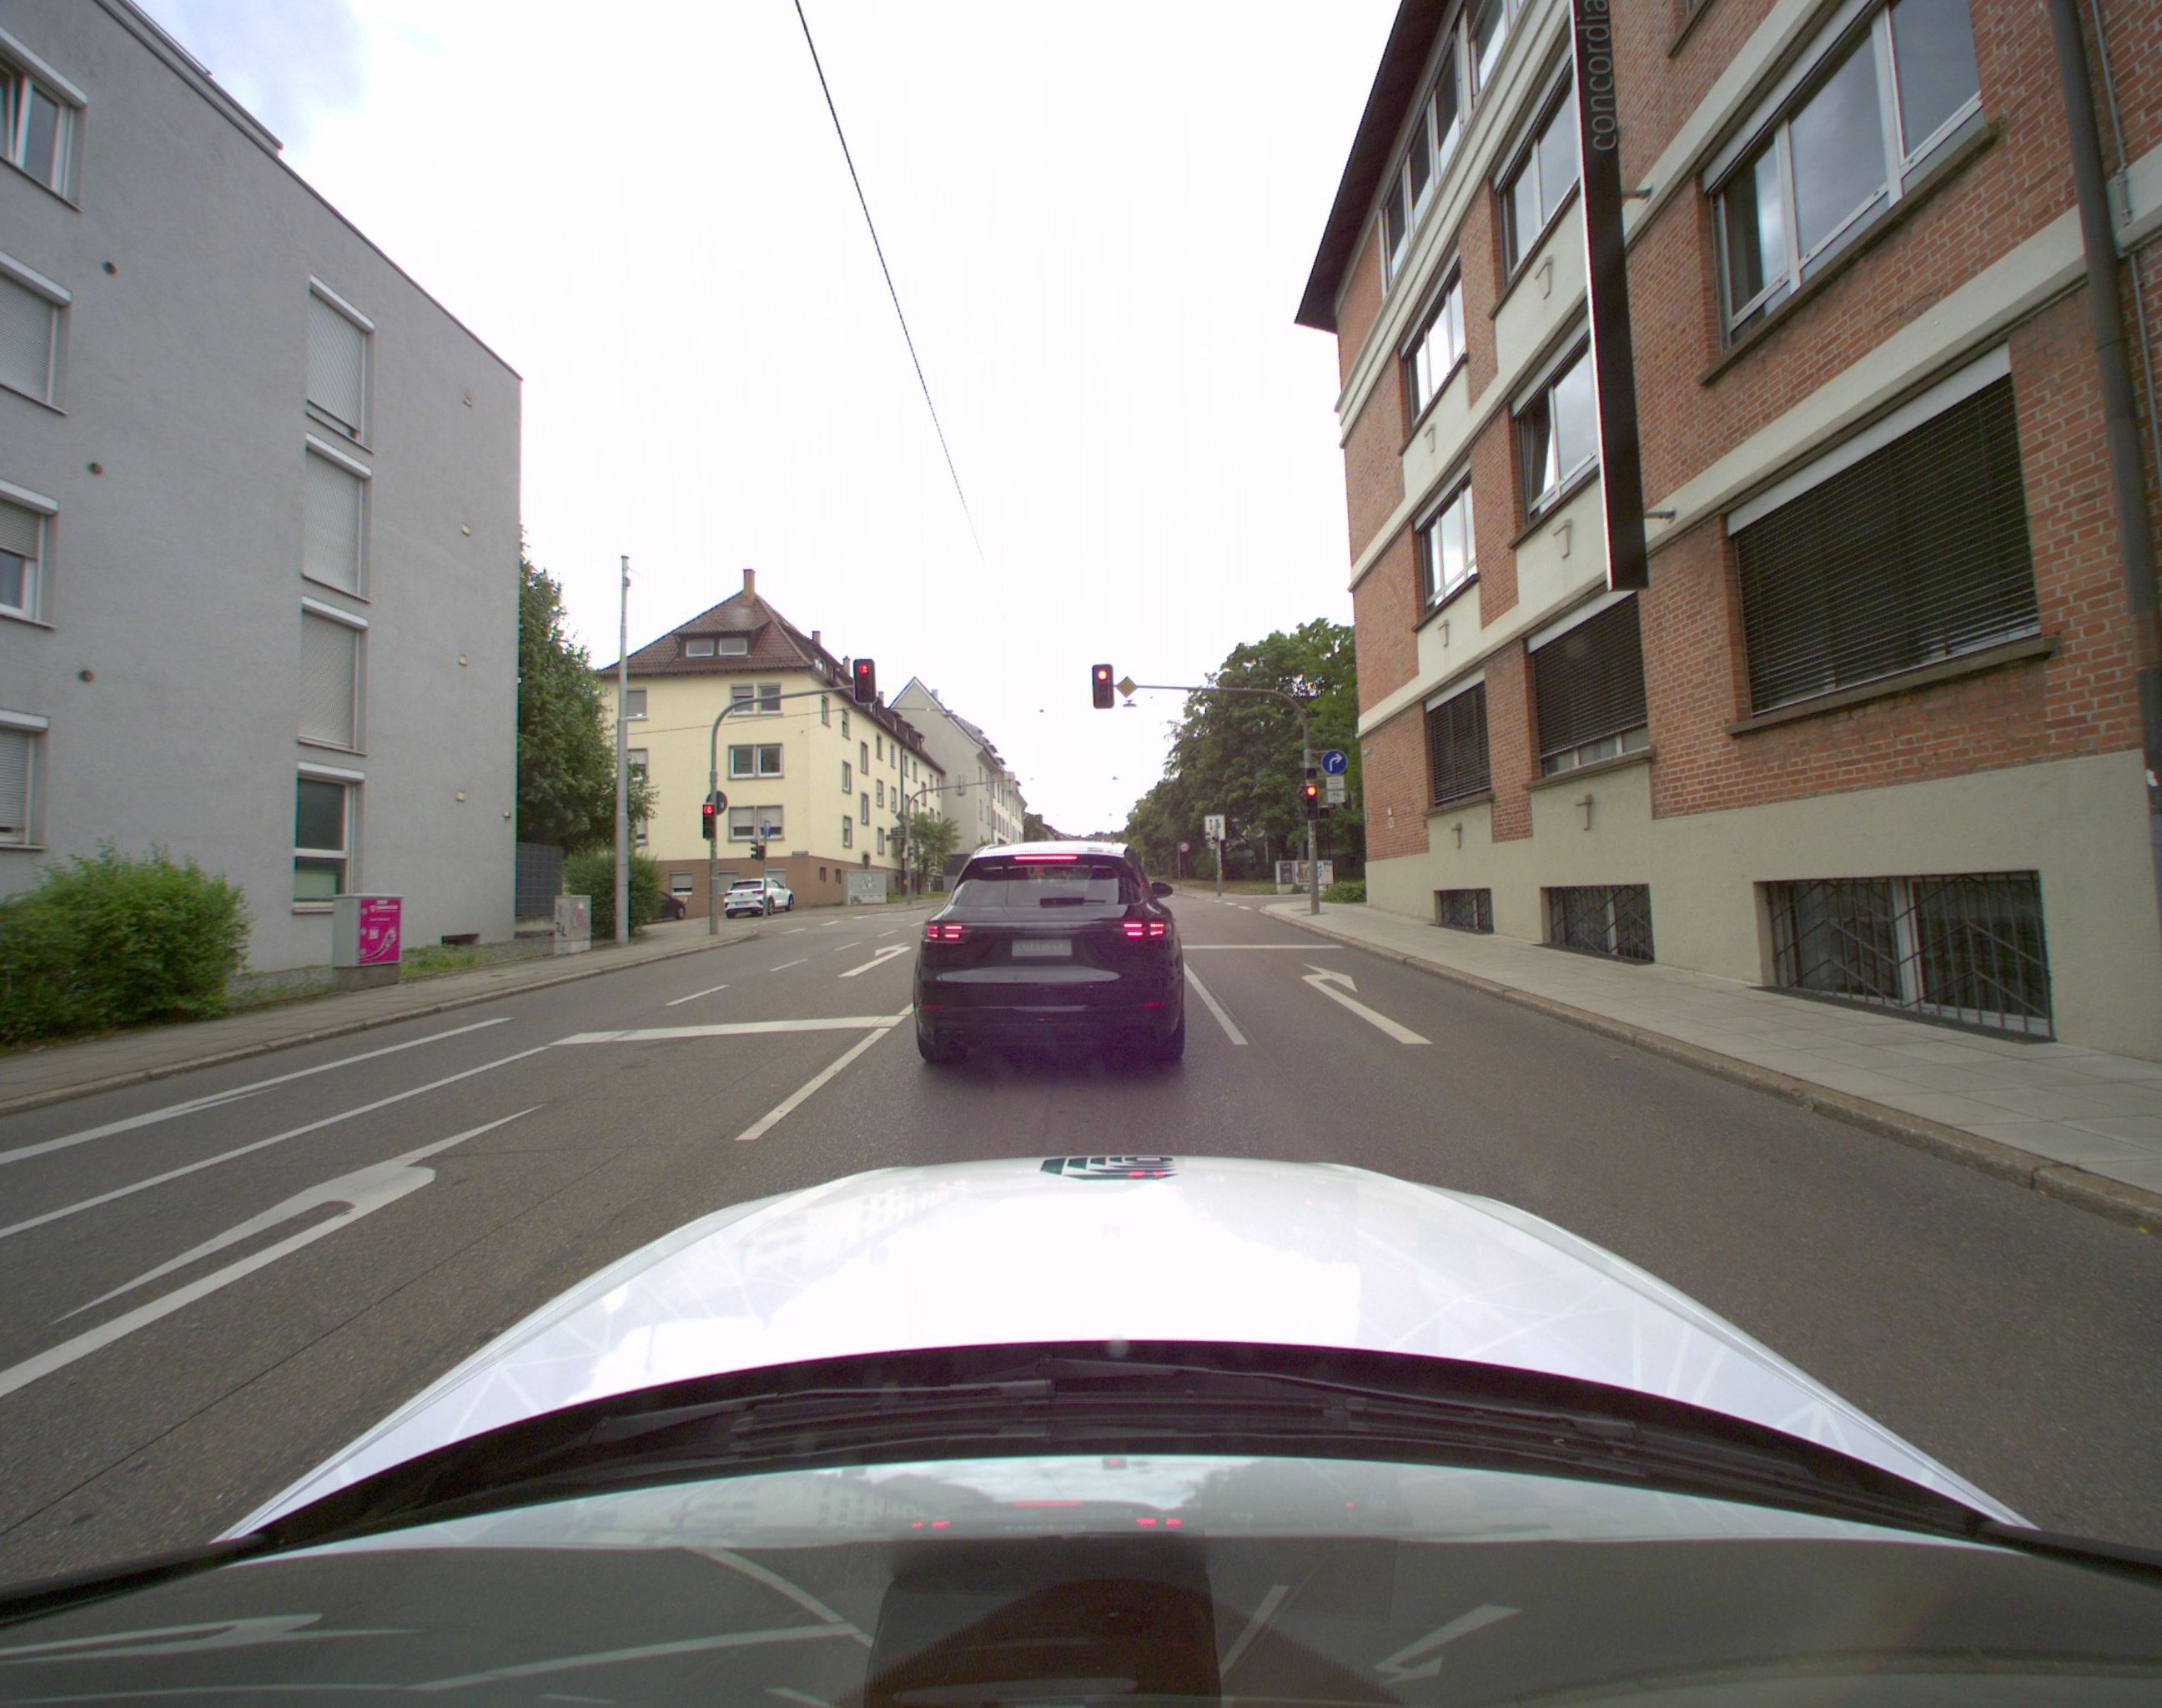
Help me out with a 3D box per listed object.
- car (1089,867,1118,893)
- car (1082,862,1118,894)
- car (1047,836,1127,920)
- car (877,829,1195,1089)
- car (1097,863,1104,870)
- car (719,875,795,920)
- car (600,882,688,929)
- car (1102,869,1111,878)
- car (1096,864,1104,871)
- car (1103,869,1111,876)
[{"bbox_3d":[1.473,1.647,52.647,1.820,1.605,3.860,0,0,2],"label":"car"},{"bbox_3d":[1.056,1.268,43.940,1.820,1.605,4.137,0,0,2],"label":"car"},{"bbox_3d":[0.224,0.597,22.031,1.957,2.042,4.137,0,0,2],"label":"car"},{"bbox_3d":[-0.213,0.681,7.381,2.040,1.666,4.269,0,0,2],"label":"car"},{"bbox_3d":[5.132,3.271,210.385,1.820,1.605,4.137,0,0,2],"label":"car"},{"bbox_3d":[-13.532,1.775,34.189,1.686,1.555,3.763,-4,0,-2],"label":"car"},{"bbox_3d":[-18.496,2.140,34.655,1.686,1.608,3.763,-4,0,-2],"label":"car"},{"bbox_3d":[5.072,3.897,163.374,1.820,1.605,4.137,0,0,2],"label":"car"},{"bbox_3d":[4.711,3.296,203.063,1.820,1.605,4.137,0,0,2],"label":"car"},{"bbox_3d":[5.914,4.130,182.540,1.820,1.605,4.137,0,0,2],"label":"car"}]
